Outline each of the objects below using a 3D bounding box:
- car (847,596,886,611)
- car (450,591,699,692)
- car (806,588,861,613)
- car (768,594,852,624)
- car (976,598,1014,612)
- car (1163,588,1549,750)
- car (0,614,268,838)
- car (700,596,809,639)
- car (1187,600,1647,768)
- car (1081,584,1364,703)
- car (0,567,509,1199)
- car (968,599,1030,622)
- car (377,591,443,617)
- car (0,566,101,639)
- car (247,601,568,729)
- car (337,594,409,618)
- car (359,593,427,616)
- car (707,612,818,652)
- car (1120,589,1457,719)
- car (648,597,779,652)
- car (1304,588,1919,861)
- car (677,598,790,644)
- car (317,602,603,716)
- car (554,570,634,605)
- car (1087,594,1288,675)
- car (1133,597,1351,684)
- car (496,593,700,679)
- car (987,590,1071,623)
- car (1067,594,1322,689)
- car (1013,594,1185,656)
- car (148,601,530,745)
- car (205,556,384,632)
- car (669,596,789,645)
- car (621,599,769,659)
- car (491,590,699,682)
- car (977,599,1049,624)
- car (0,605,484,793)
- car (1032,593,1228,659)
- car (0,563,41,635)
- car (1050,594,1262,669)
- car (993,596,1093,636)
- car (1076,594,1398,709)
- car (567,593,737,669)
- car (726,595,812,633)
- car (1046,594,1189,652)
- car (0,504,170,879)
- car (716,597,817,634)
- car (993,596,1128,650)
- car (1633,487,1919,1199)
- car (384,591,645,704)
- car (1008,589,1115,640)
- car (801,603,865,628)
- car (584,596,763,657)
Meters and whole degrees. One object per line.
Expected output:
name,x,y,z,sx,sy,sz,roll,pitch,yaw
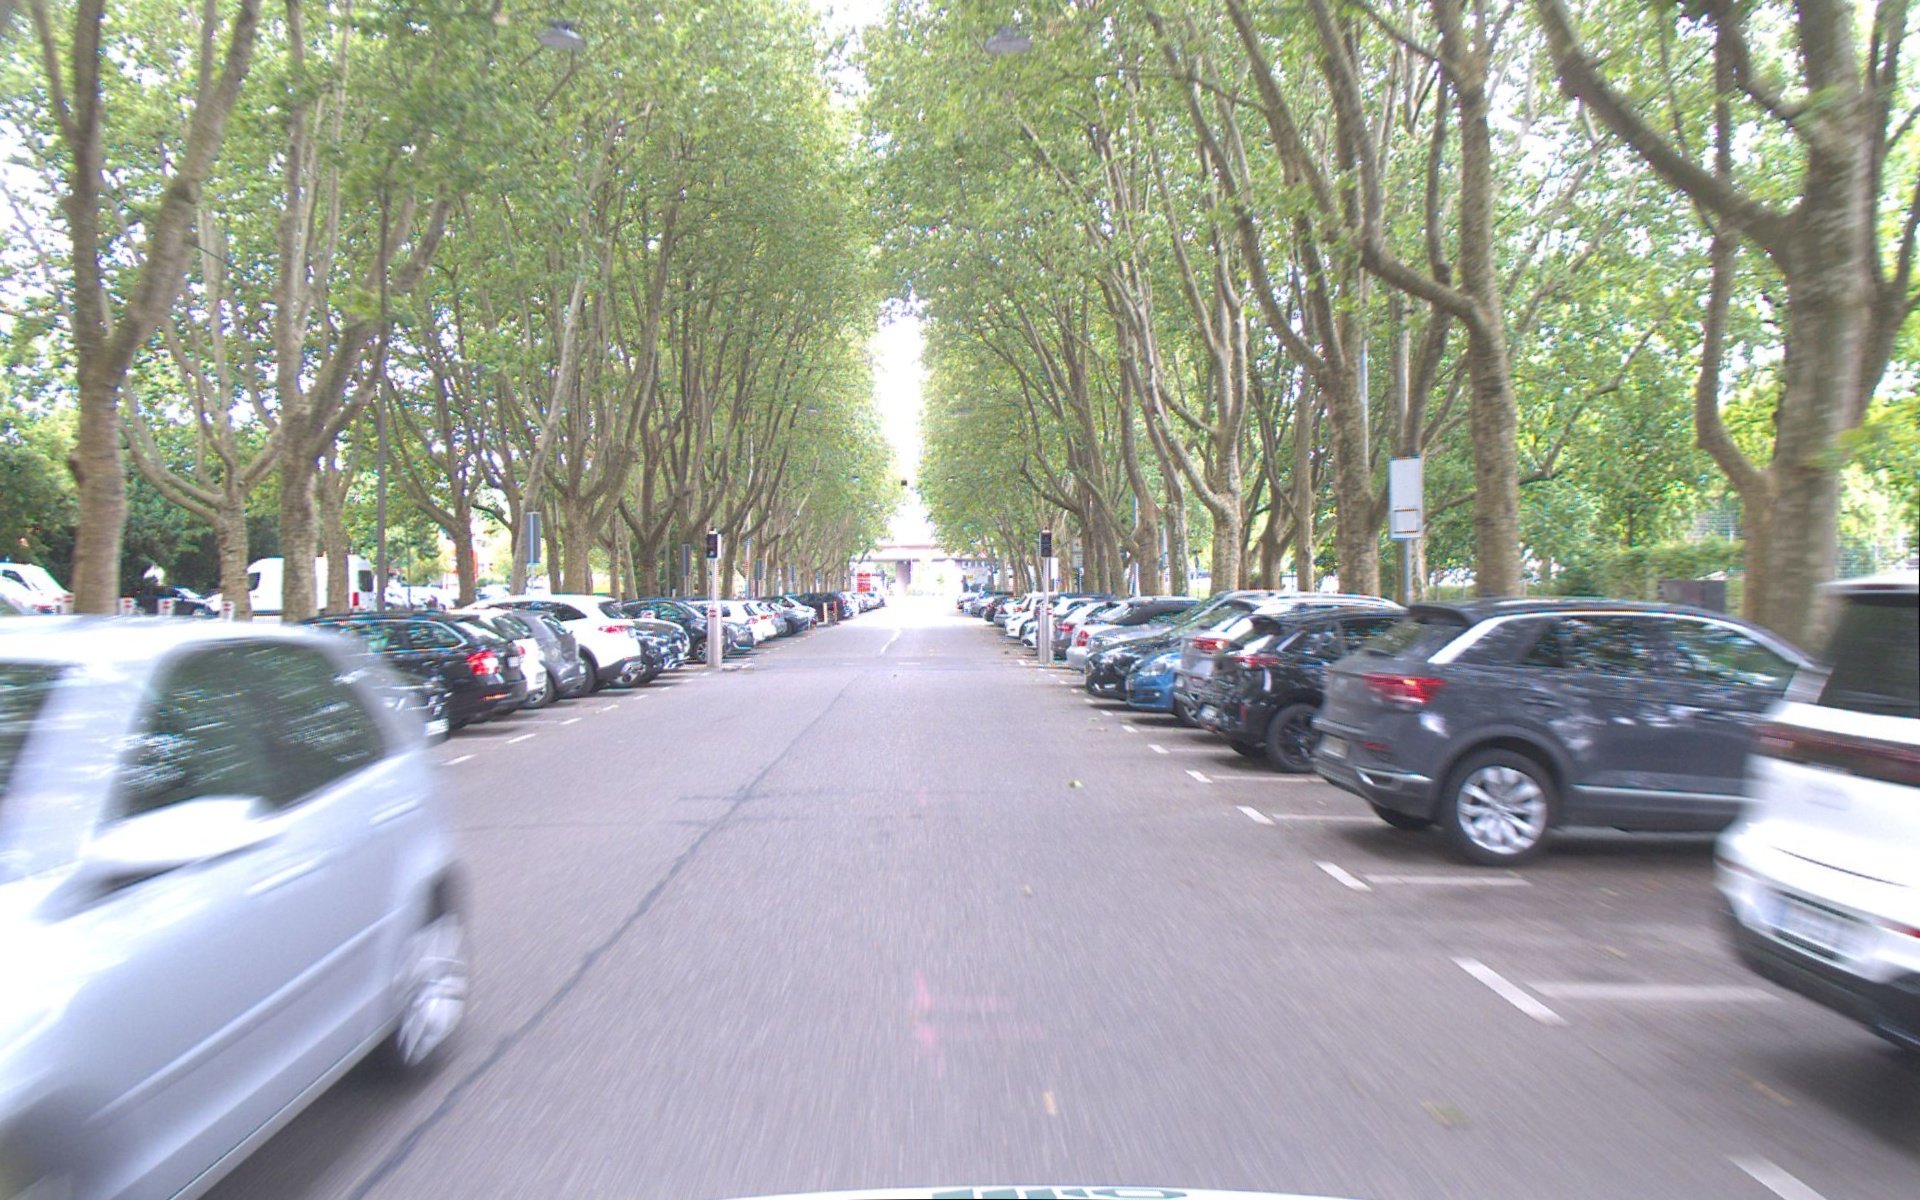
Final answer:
car,-9.388,0.358,166.097,3.734,1.542,1.686,0,0,2
car,-6.873,0.714,29.750,3.984,1.636,1.799,-2,0,1
car,-9.285,0.021,121.349,3.734,1.630,1.787,-3,0,4
car,-8.536,0.506,94.439,4.571,1.452,1.999,-3,0,-3
car,3.957,0.572,186.399,4.287,1.549,1.731,0,0,0
car,4.214,0.712,17.977,3.750,1.635,1.693,1,0,-3
car,-7.696,0.932,12.227,4.359,1.478,1.774,-2,0,-2
car,-7.682,0.639,62.044,3.942,1.454,1.693,-2,0,-4
car,4.111,0.734,15.265,3.750,1.413,1.693,1,0,-3
car,3.936,0.641,25.258,4.029,1.699,1.694,1,0,-1
car,-2.353,0.716,3.868,1.655,1.497,3.837,-2,0,-3
car,2.655,0.700,111.762,4.088,1.467,1.732,0,0,4
car,-35.060,0.256,105.422,3.680,1.617,1.535,1,0,-4
car,-34.793,0.051,60.245,5.880,2.571,1.999,1,0,-2
car,-7.390,0.845,22.417,3.681,1.500,1.864,-2,0,-2
car,-34.889,0.361,98.356,3.680,1.373,1.535,1,0,-3
car,-34.990,0.261,102.119,3.680,1.373,1.535,1,0,-4
car,-7.963,1.277,67.025,4.314,1.454,1.693,-2,0,-4
car,3.955,0.638,20.288,3.750,1.481,1.693,1,0,-3
car,-7.408,0.728,49.977,3.751,1.523,1.693,-2,0,-4
car,4.274,0.710,10.218,3.907,1.512,1.693,1,0,-3
car,-7.848,0.708,57.523,3.751,1.454,1.693,-2,0,-4
car,-7.397,0.848,24.730,3.751,1.497,1.693,-2,0,-4
car,-24.245,-0.816,109.700,4.976,2.271,1.535,1,0,-3
car,4.435,0.661,32.643,3.699,1.495,1.666,1,0,-2
car,5.094,0.720,30.160,3.698,1.495,1.624,1,0,0
car,-7.621,0.746,35.084,3.964,1.636,1.693,-2,0,-4
car,3.236,0.292,77.687,3.840,1.477,1.555,1,0,-2
car,3.894,0.674,27.897,4.030,1.495,1.694,1,0,-1
car,3.552,0.626,42.598,4.213,1.495,1.622,1,0,-5
car,-7.260,0.828,19.617,3.917,1.497,1.536,-2,0,-4
car,-24.233,-0.224,60.358,5.668,2.642,2.000,1,0,-1
car,-7.687,0.672,55.231,3.750,1.454,1.801,-2,0,-3
car,-7.115,0.763,44.702,3.751,1.454,1.693,-2,0,-4
car,-7.177,0.685,32.833,3.751,1.636,1.833,-2,0,-4
car,3.372,0.701,104.649,4.478,1.512,2.001,0,0,4
car,-6.815,0.871,15.089,4.355,1.478,1.775,-2,0,3
car,4.062,0.624,39.910,4.521,1.495,1.649,1,0,-2
car,-34.258,-0.075,55.267,5.880,2.370,1.999,1,0,-2
car,4.122,0.645,35.205,4.278,1.495,1.623,1,0,-2
car,3.138,0.592,62.997,3.574,1.449,1.984,1,0,-5
car,3.742,0.684,22.758,4.127,1.476,1.610,1,0,-3
car,-7.304,0.720,39.511,3.751,1.636,1.693,-2,0,-4
car,-8.604,0.606,74.783,3.751,1.582,1.693,-2,0,-4
car,4.295,0.625,45.410,3.701,1.495,1.622,1,0,-5
car,-7.653,0.582,9.946,4.795,2.054,1.919,-2,0,-2
car,-8.394,0.675,72.053,4.247,1.454,1.693,-2,0,-4
car,3.184,0.727,52.753,4.085,1.624,1.853,1,0,-5
car,4.481,0.647,4.832,4.297,1.786,1.800,1,0,-3
car,-7.191,0.741,27.036,3.751,1.656,1.951,-2,0,-4
car,3.528,0.503,57.827,3.574,1.696,1.518,1,0,-5
car,-8.033,0.985,104.787,3.734,1.377,1.663,-3,0,4
car,-7.249,0.660,42.173,4.314,1.388,1.693,-2,0,-4
